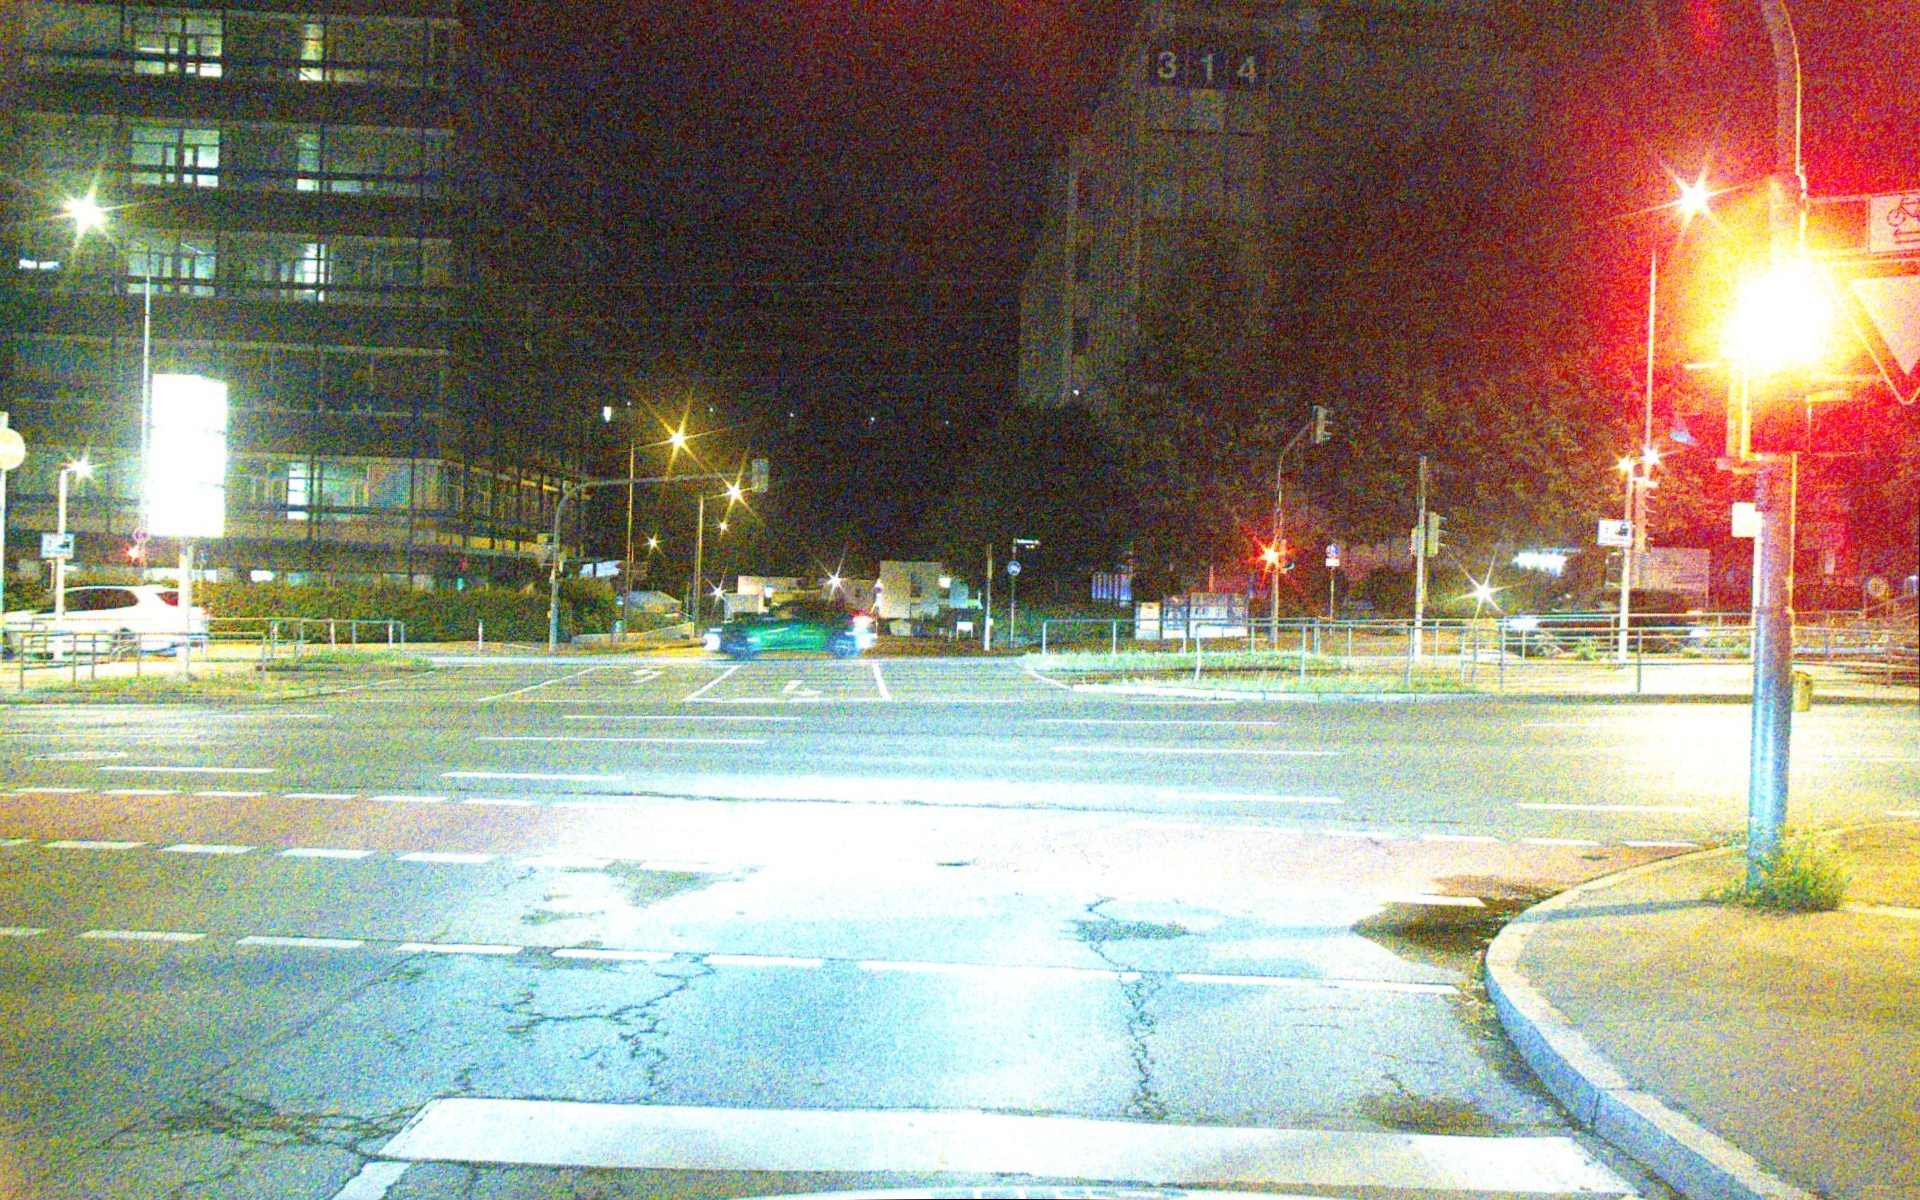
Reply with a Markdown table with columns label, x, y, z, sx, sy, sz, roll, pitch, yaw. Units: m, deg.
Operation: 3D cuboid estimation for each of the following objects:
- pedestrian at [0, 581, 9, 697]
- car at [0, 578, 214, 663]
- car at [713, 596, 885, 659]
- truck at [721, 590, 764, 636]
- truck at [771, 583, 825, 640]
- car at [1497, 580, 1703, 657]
| label | x | y | z | sx | sy | sz | roll | pitch | yaw |
| --- | --- | --- | --- | --- | --- | --- | --- | --- | --- |
| pedestrian | -14.848 | 0.575 | 24.821 | 0.663 | 1.752 | 0.706 | 1 | -1 | 25 |
| car | -19.962 | 0.475 | 38.156 | 4.680 | 1.876 | 1.843 | -1 | -1 | 2 |
| car | -3.920 | 0.655 | 40.655 | 3.976 | 1.449 | 1.844 | 0 | 2 | 2 |
| truck | -15.764 | 0.943 | 119.571 | 2.377 | 3.143 | 6.414 | 2 | -1 | -14 |
| truck | -14.624 | 1.024 | 148.606 | 3.307 | 4.927 | 7.868 | 2 | -1 | -17 |
| car | 14.128 | 0.393 | 36.682 | 3.902 | 1.612 | 1.805 | -1 | 0 | 6 |
